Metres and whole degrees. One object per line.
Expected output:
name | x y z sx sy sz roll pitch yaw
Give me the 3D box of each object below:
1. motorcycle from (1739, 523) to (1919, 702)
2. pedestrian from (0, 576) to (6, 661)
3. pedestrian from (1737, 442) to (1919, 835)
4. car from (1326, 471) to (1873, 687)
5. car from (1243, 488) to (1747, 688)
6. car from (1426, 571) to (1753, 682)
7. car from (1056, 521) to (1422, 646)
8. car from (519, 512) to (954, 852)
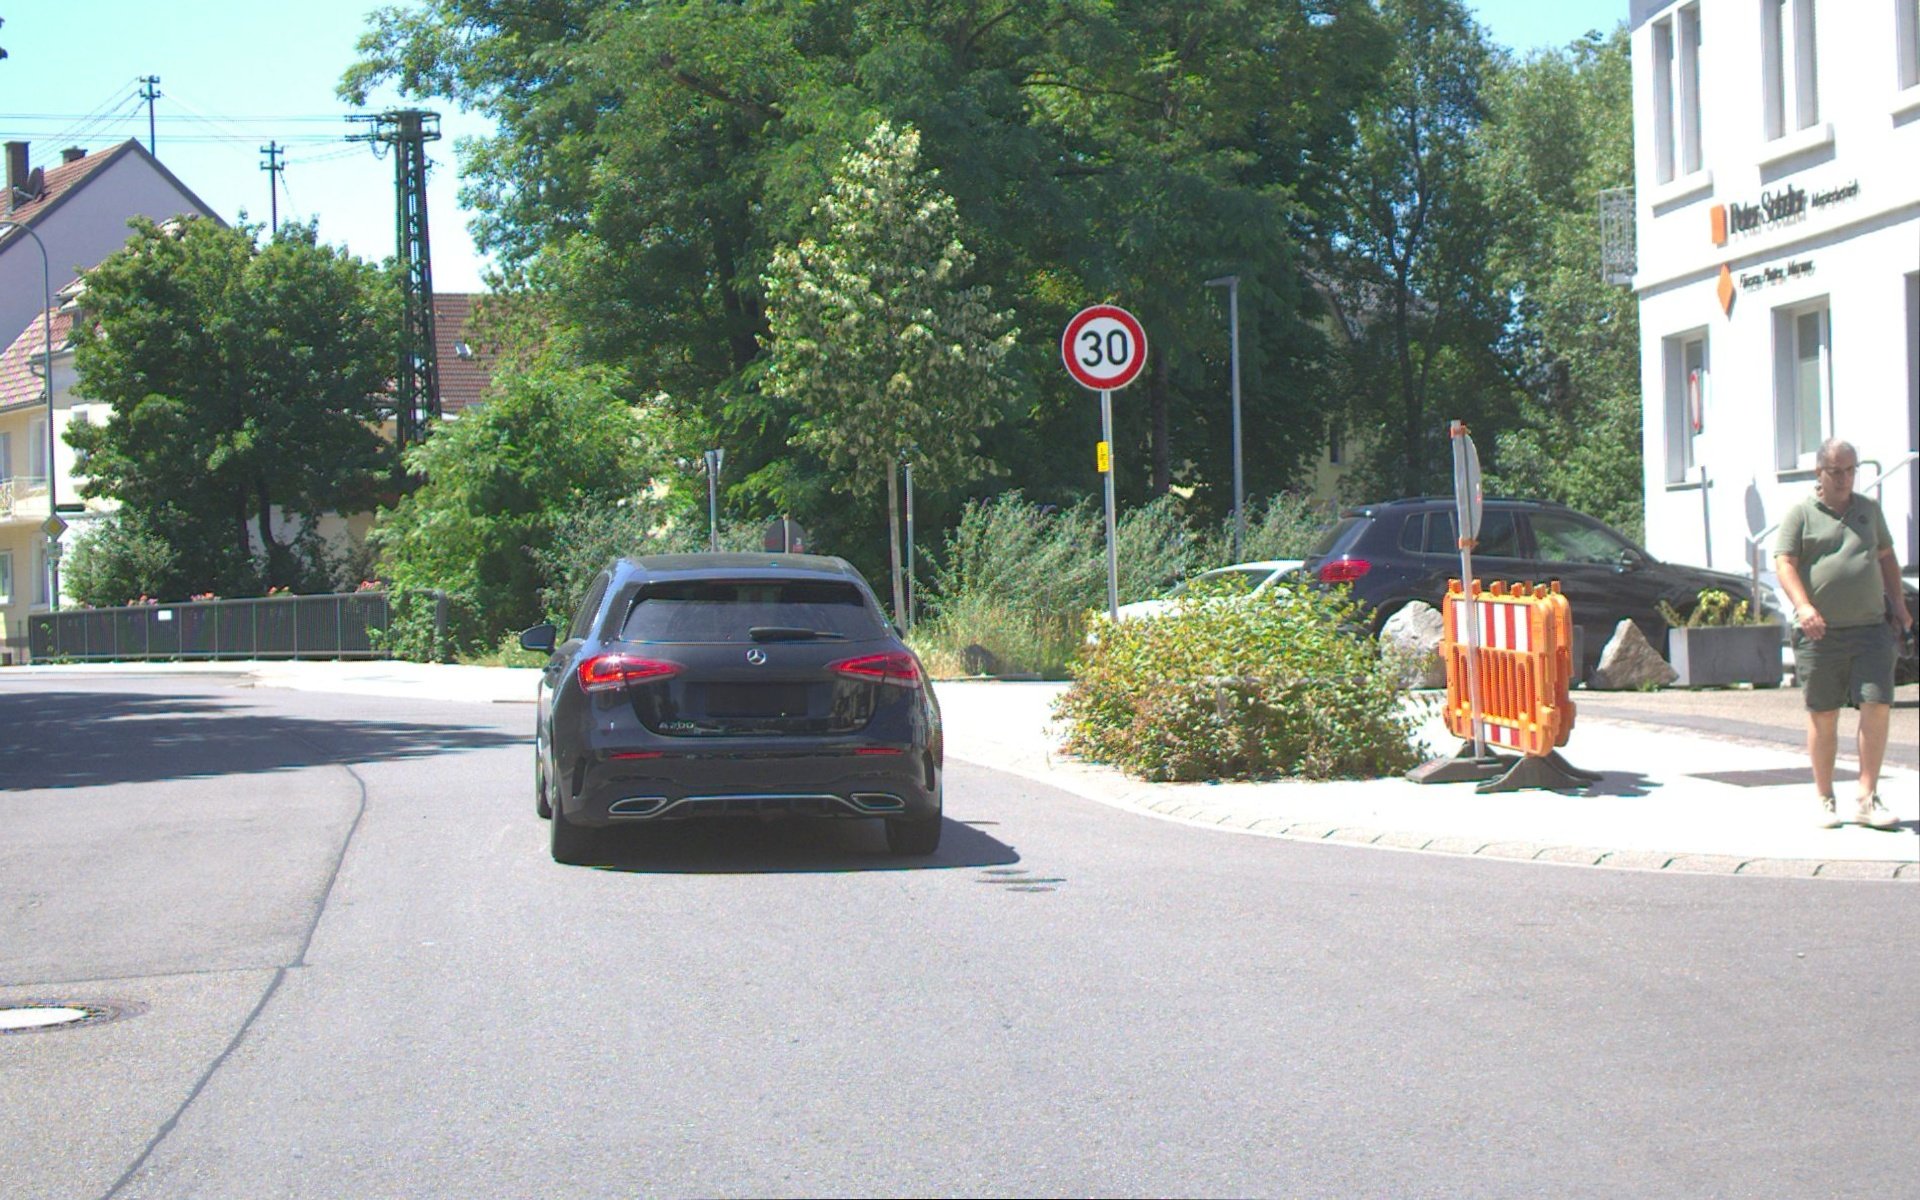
motorcycle | 6.981 0.076 25.084 2.376 1.271 0.856 0 0 -5
pedestrian | -20.168 0.391 70.846 0.701 1.735 0.661 -2 0 43
pedestrian | 4.124 0.162 16.189 0.746 1.790 0.844 -1 2 3
car | 5.228 -0.165 28.399 4.074 1.710 1.856 0 0 -6
car | 4.696 -0.097 30.520 4.074 1.710 1.856 0 0 -6
car | 8.252 0.352 44.932 4.190 1.345 1.860 0 -2 -38
car | 3.318 -0.189 40.448 4.190 1.345 1.860 0 2 -41
car | -1.228 0.419 17.039 1.827 1.437 4.000 -1 -2 -8
